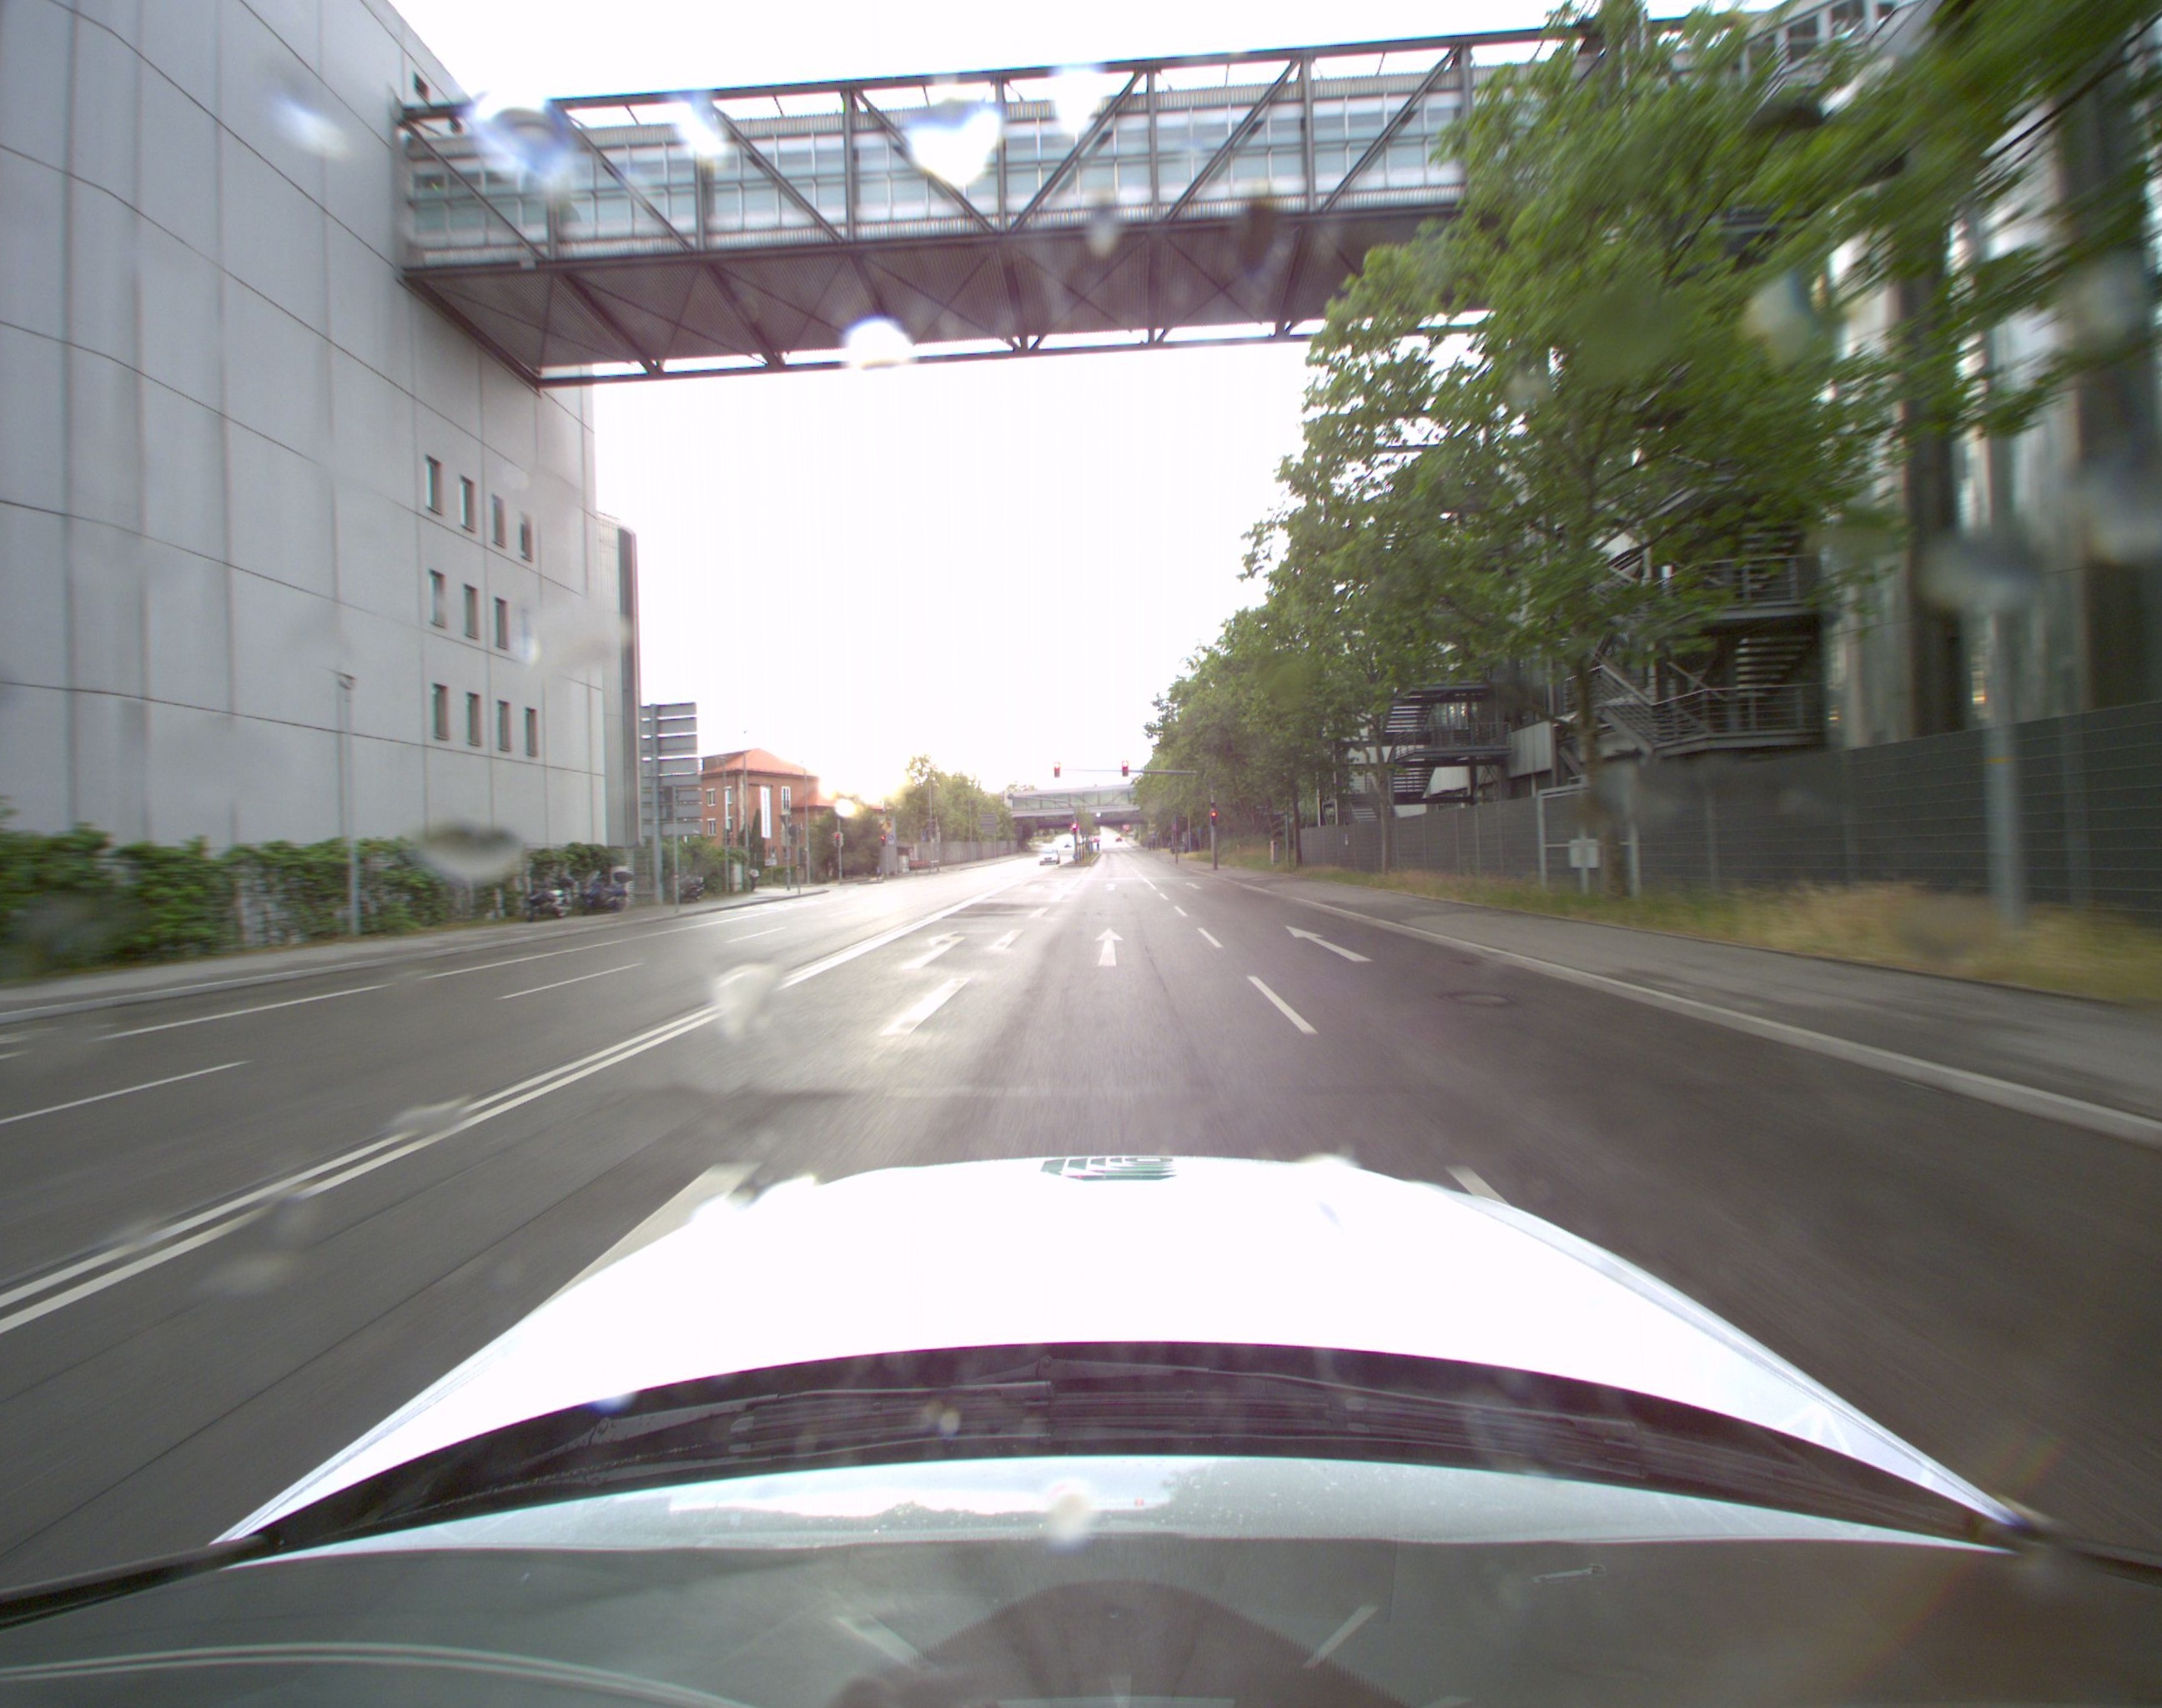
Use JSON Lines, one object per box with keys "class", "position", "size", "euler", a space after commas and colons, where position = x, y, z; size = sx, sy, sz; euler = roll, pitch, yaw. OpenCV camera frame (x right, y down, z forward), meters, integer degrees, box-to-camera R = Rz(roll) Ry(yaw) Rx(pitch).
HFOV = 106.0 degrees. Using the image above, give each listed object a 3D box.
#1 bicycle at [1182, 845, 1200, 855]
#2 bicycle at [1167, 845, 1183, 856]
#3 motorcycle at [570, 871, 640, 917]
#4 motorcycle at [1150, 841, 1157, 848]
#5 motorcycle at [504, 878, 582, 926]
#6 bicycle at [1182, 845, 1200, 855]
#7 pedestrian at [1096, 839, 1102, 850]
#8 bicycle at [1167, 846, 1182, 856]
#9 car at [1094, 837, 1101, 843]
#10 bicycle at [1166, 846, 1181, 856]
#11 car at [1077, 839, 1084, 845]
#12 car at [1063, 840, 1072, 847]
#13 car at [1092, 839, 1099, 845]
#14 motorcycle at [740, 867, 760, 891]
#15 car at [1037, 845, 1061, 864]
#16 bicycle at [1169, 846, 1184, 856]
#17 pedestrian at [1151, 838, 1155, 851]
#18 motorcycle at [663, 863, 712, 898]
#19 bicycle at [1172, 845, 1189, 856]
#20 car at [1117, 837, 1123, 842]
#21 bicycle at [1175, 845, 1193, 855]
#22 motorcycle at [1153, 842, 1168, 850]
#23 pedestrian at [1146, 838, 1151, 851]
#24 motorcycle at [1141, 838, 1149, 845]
{"class": "bicycle", "position": [12.287, -0.406, 91.154], "size": [1.982, 1.094, 0.541], "euler": [0, -1, 3]}
{"class": "bicycle", "position": [11.998, -0.476, 104.317], "size": [1.982, 1.430, 0.723], "euler": [0, -1, 3]}
{"class": "motorcycle", "position": [-15.469, 1.272, 26.535], "size": [0.782, 1.347, 2.371], "euler": [-2, 0, 2]}
{"class": "motorcycle", "position": [13.935, -1.777, 157.193], "size": [0.789, 1.311, 2.372], "euler": [-3, 0, -6]}
{"class": "motorcycle", "position": [-15.718, 1.372, 23.871], "size": [0.782, 1.250, 2.158], "euler": [-2, 0, 2]}
{"class": "bicycle", "position": [12.260, -0.411, 90.585], "size": [1.982, 1.094, 0.541], "euler": [0, -1, 3]}
{"class": "pedestrian", "position": [3.502, -1.786, 157.683], "size": [0.865, 2.004, 0.859], "euler": [-3, 0, 20]}
{"class": "bicycle", "position": [12.245, -0.404, 107.114], "size": [1.952, 1.328, 0.577], "euler": [0, -1, 3]}
{"class": "car", "position": [4.979, -4.298, 248.963], "size": [1.877, 1.762, 3.972], "euler": [0, 0, 3]}
{"class": "bicycle", "position": [12.046, -0.402, 105.882], "size": [1.982, 1.328, 0.577], "euler": [0, -1, 3]}
{"class": "car", "position": [-0.137, -3.463, 228.164], "size": [1.870, 1.624, 3.781], "euler": [-3, 0, 3]}
{"class": "car", "position": [-3.416, -2.720, 204.478], "size": [1.870, 1.624, 3.781], "euler": [-3, 0, 3]}
{"class": "car", "position": [4.242, -3.659, 243.973], "size": [1.985, 1.762, 4.003], "euler": [0, 0, 3]}
{"class": "motorcycle", "position": [-17.721, 1.318, 43.551], "size": [0.774, 1.218, 2.487], "euler": [-2, 0, -27]}
{"class": "car", "position": [-2.963, 0.039, 77.205], "size": [1.870, 1.624, 3.781], "euler": [-3, 0, 3]}
{"class": "bicycle", "position": [12.339, -0.418, 105.159], "size": [1.982, 1.328, 0.577], "euler": [0, -1, 3]}
{"class": "pedestrian", "position": [11.569, -1.525, 131.087], "size": [0.619, 2.013, 0.606], "euler": [-3, 0, 2]}
{"class": "motorcycle", "position": [-15.454, 1.028, 32.051], "size": [0.782, 1.247, 2.158], "euler": [-2, 0, 2]}
{"class": "bicycle", "position": [11.895, -0.433, 97.597], "size": [1.982, 1.242, 0.541], "euler": [0, -1, 3]}
{"class": "car", "position": [11.526, -4.265, 240.064], "size": [1.867, 1.497, 4.071], "euler": [0, 0, 3]}
{"class": "bicycle", "position": [11.676, -0.457, 92.639], "size": [1.982, 1.216, 0.541], "euler": [0, -1, 3]}
{"class": "motorcycle", "position": [13.479, -1.389, 138.295], "size": [2.354, 1.202, 0.724], "euler": [-3, 0, 10]}
{"class": "pedestrian", "position": [10.882, -1.490, 131.435], "size": [0.619, 2.013, 0.606], "euler": [-3, 0, 2]}
{"class": "motorcycle", "position": [12.798, -2.402, 162.294], "size": [0.792, 1.311, 2.364], "euler": [-3, 0, -15]}
